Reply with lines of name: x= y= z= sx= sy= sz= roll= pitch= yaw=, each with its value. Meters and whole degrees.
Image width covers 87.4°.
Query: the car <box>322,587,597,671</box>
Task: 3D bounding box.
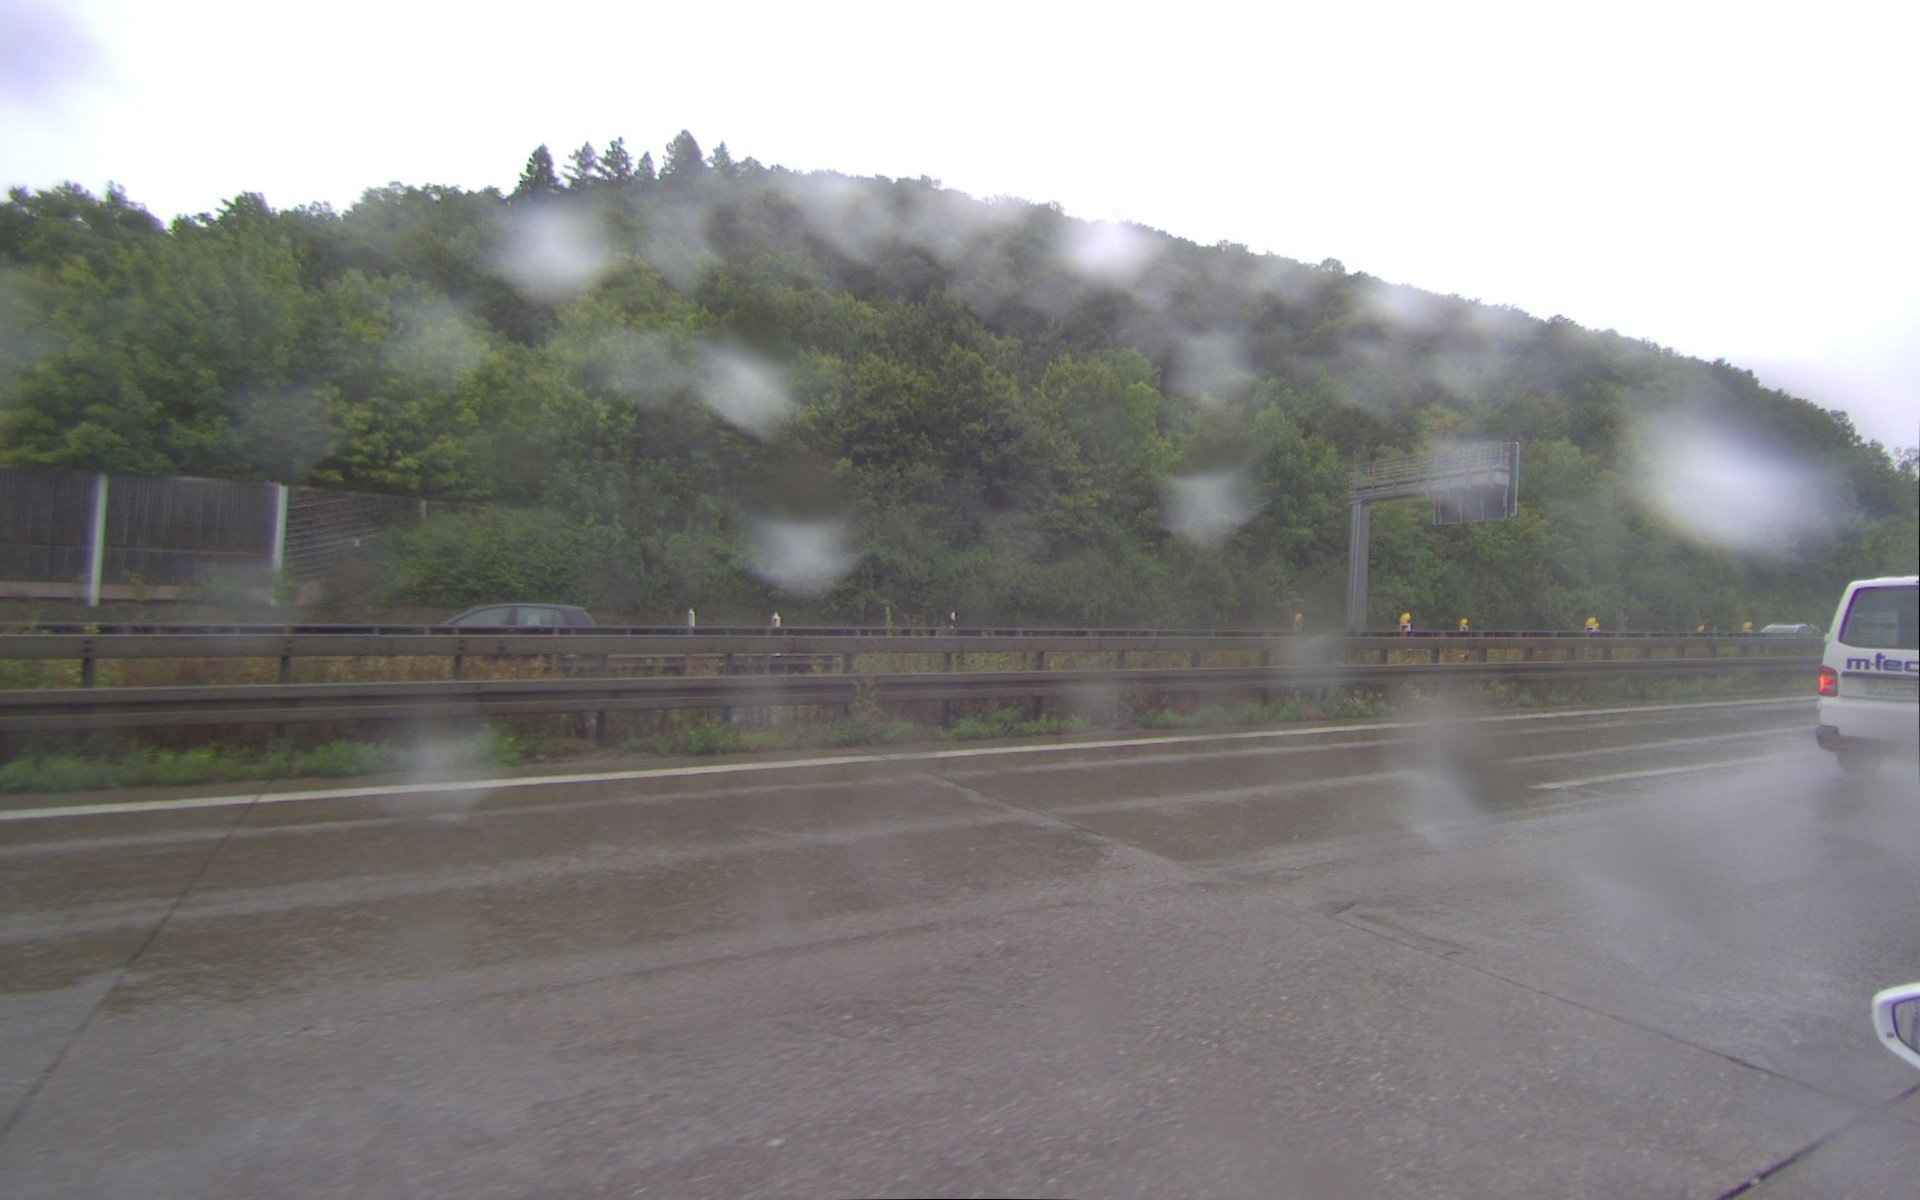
car: x=-9.013 y=0.510 z=18.273 sx=4.293 sy=1.321 sz=1.743 roll=1 pitch=2 yaw=-31

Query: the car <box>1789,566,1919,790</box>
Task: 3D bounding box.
car: x=10.410 y=0.717 z=9.858 sx=4.983 sy=1.919 sz=1.891 roll=1 pitch=0 yaw=-30
